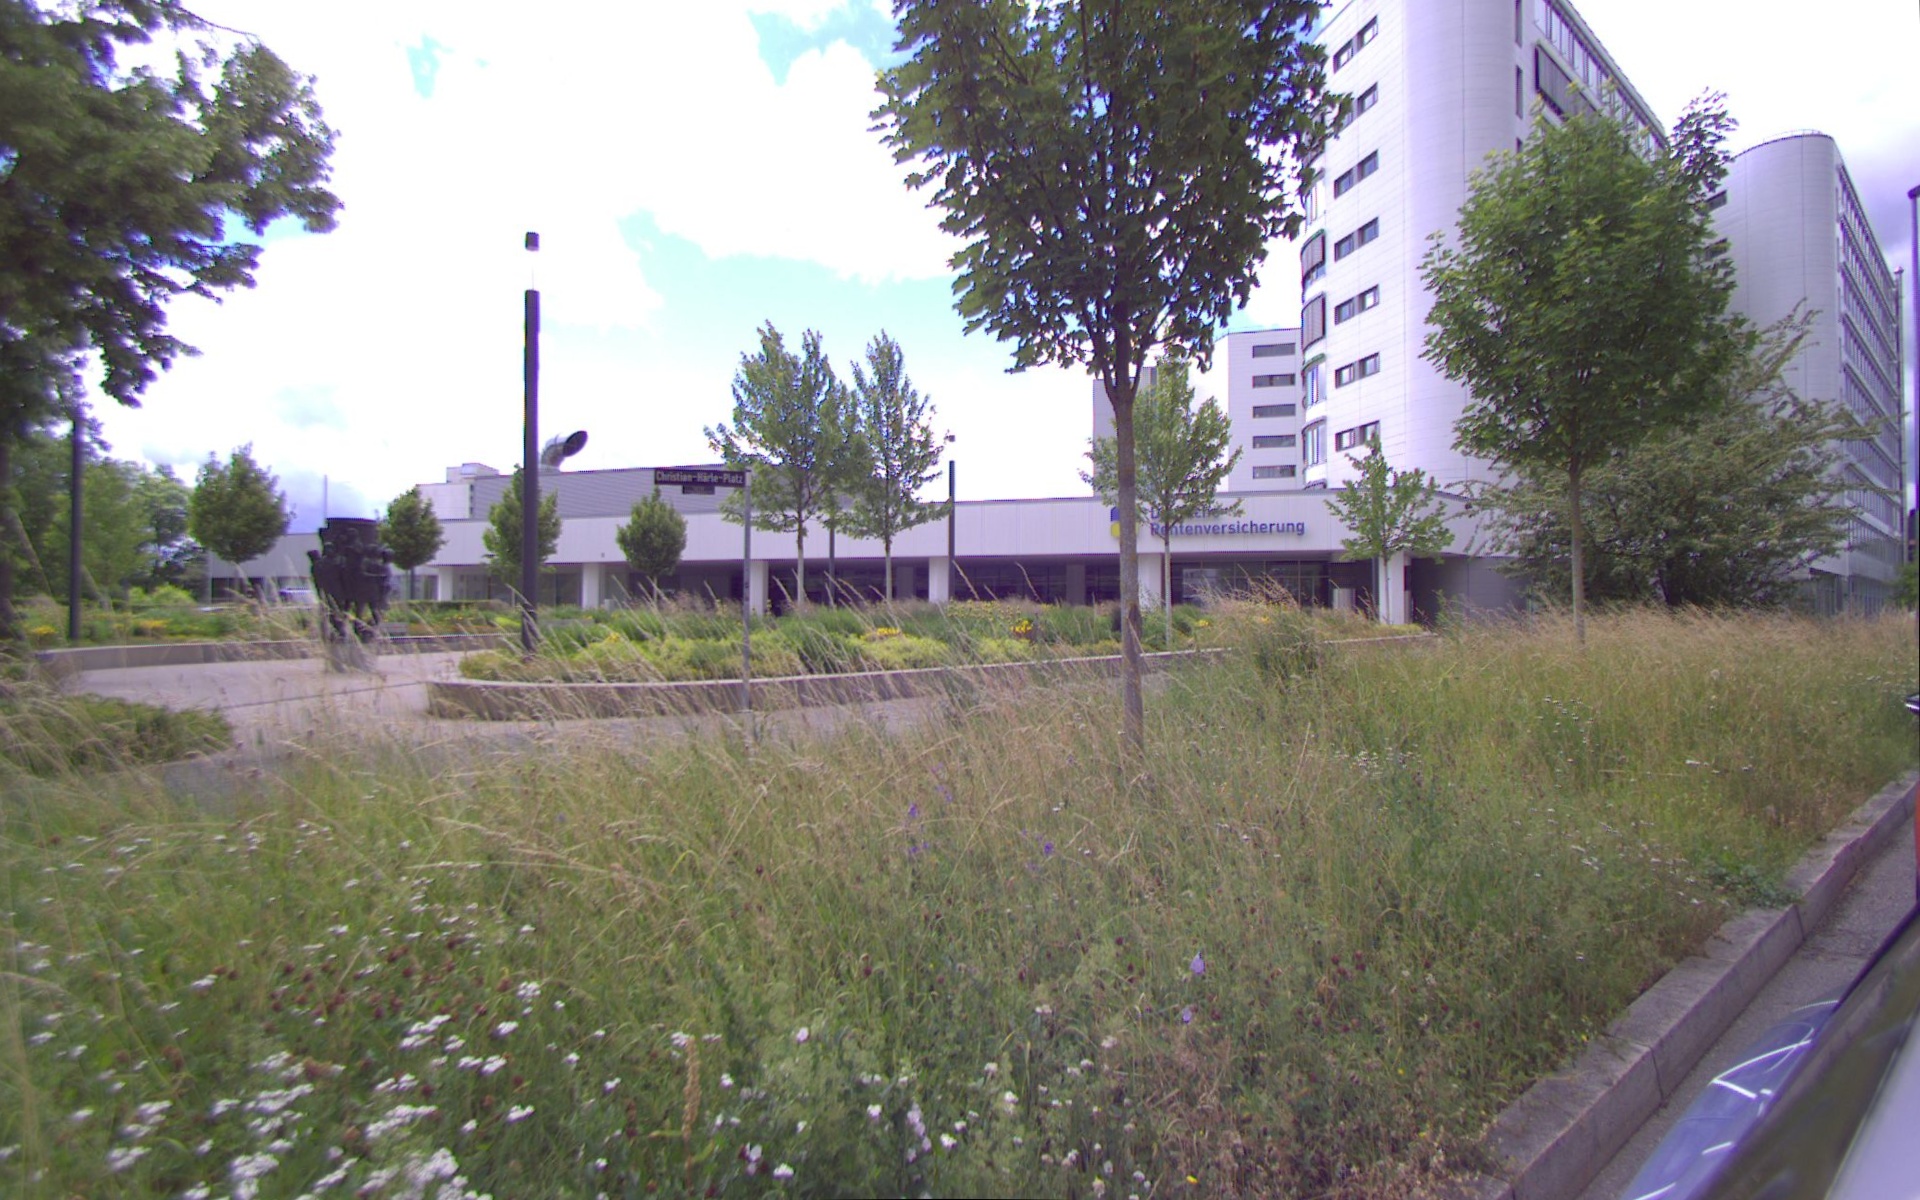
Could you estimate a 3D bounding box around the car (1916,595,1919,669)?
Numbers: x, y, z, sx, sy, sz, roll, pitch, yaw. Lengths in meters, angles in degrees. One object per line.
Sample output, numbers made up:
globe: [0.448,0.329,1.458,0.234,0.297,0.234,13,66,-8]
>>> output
car: [22.616,0.705,22.473,3.386,1.594,1.736,0,0,-42]

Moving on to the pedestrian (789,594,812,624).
pedestrian: [-6.995,0.388,44.533,0.869,1.290,0.704,1,0,2]

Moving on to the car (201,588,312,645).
car: [-23.374,0.519,33.610,3.470,1.788,1.622,0,0,27]

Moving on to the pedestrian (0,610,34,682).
pedestrian: [-17.459,0.839,18.668,0.560,1.278,0.581,0,0,-43]
